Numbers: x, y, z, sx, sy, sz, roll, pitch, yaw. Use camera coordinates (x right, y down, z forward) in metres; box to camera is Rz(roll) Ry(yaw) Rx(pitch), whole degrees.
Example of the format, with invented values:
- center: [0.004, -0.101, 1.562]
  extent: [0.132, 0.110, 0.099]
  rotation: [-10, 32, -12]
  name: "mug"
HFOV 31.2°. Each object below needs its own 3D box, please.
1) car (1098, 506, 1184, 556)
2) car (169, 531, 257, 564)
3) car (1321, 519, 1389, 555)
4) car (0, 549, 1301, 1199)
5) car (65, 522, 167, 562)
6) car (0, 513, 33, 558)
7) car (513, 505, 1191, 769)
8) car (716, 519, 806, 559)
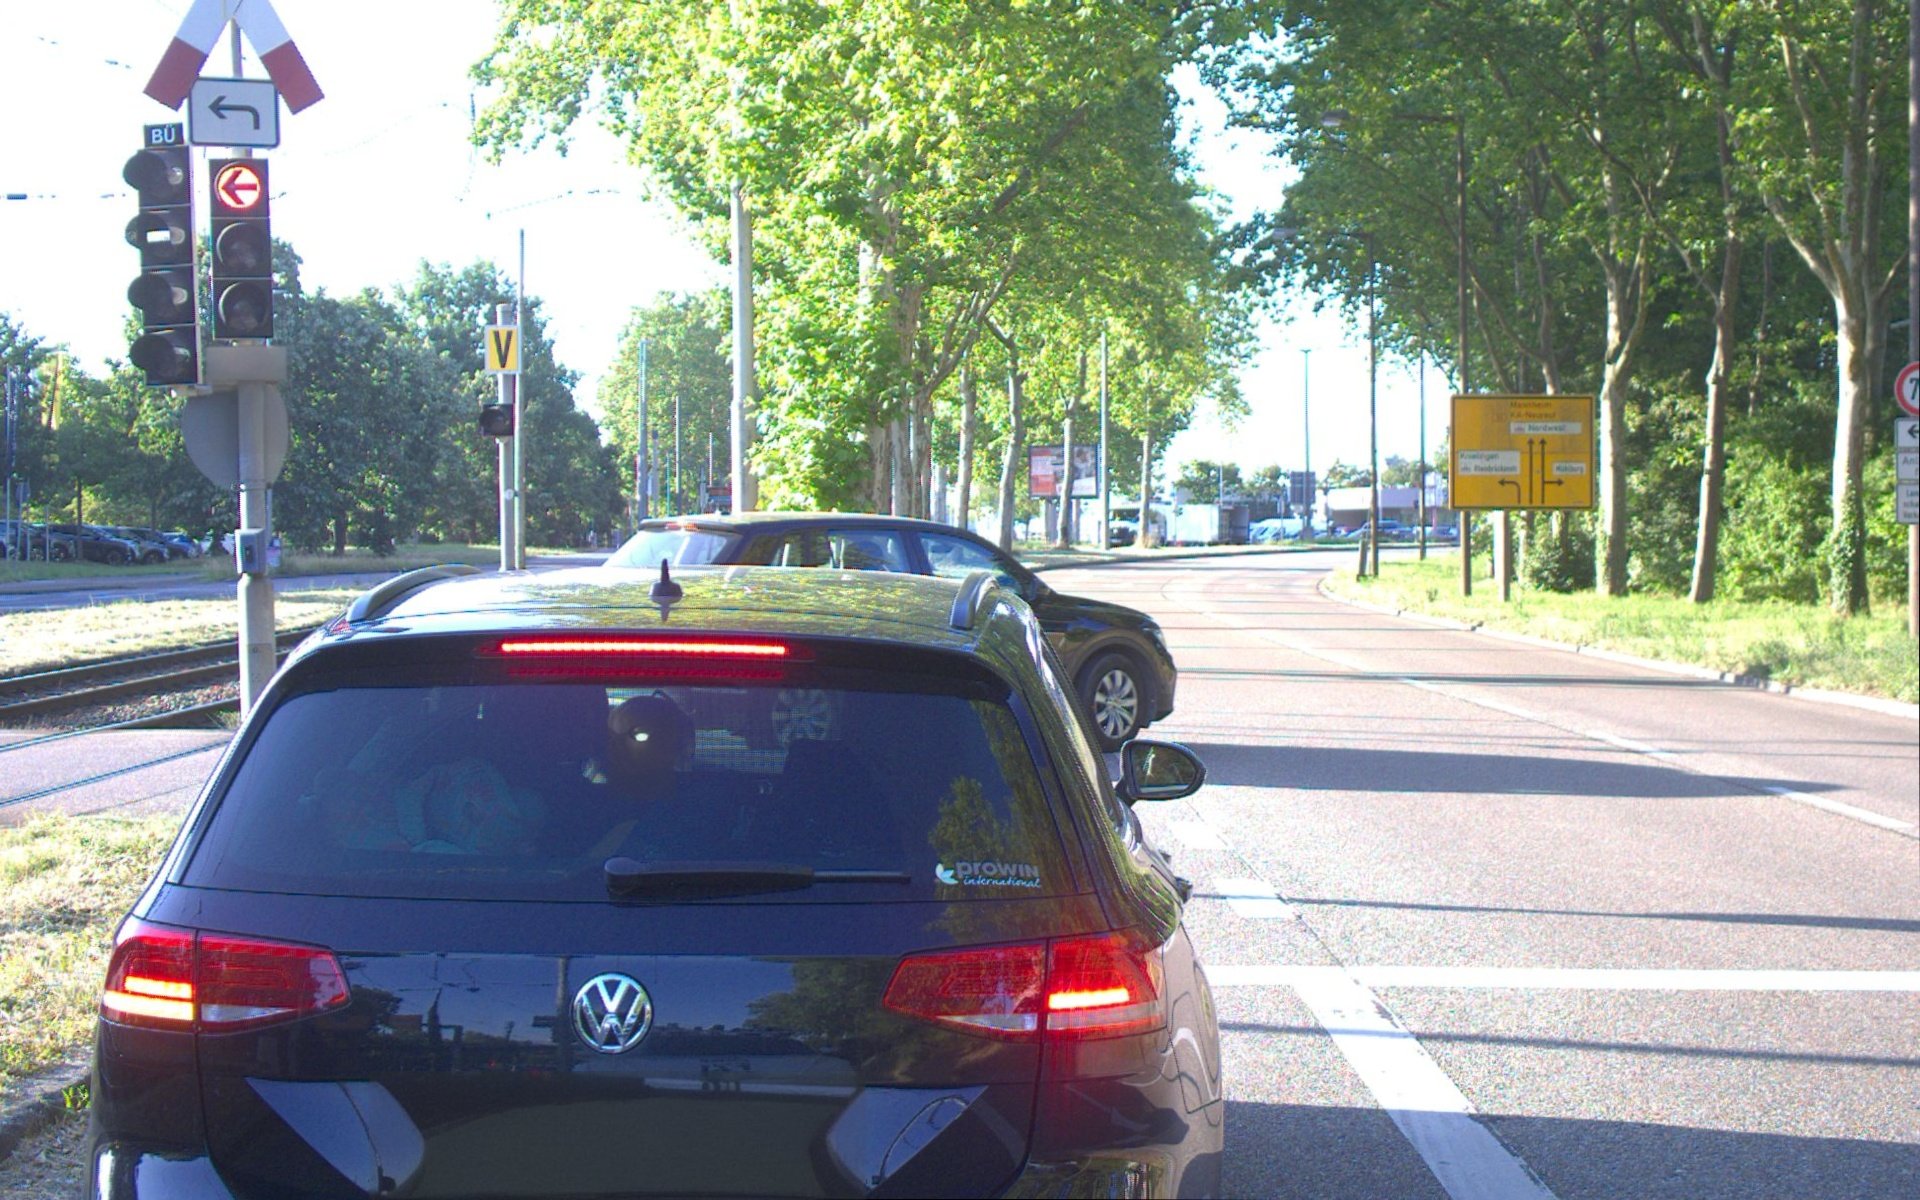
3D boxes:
- center: [9.046, -3.430, 171.313]
  extent: [2.098, 2.453, 5.844]
  rotation: [1, 2, 27]
  name: "car"
- center: [-36.497, -2.551, 167.986]
  extent: [3.986, 1.550, 1.744]
  rotation: [1, 1, -4]
  name: "car"
- center: [23.021, -3.661, 200.310]
  extent: [2.099, 2.058, 4.871]
  rotation: [2, 2, 30]
  name: "car"
- center: [-0.481, 0.651, 6.412]
  extent: [1.795, 1.459, 3.583]
  rotation: [1, 1, -1]
  name: "car"
- center: [-35.815, -2.461, 145.910]
  extent: [3.986, 1.615, 1.744]
  rotation: [1, 1, -5]
  name: "car"
- center: [-35.908, -2.368, 125.005]
  extent: [3.986, 1.615, 1.744]
  rotation: [1, 1, -5]
  name: "car"
- center: [-0.669, 0.179, 23.349]
  extent: [4.357, 1.629, 1.878]
  rotation: [-1, 2, -39]
  name: "car"
- center: [-7.691, -2.356, 132.899]
  extent: [1.864, 1.476, 4.087]
  rotation: [1, 1, 22]
  name: "car"
